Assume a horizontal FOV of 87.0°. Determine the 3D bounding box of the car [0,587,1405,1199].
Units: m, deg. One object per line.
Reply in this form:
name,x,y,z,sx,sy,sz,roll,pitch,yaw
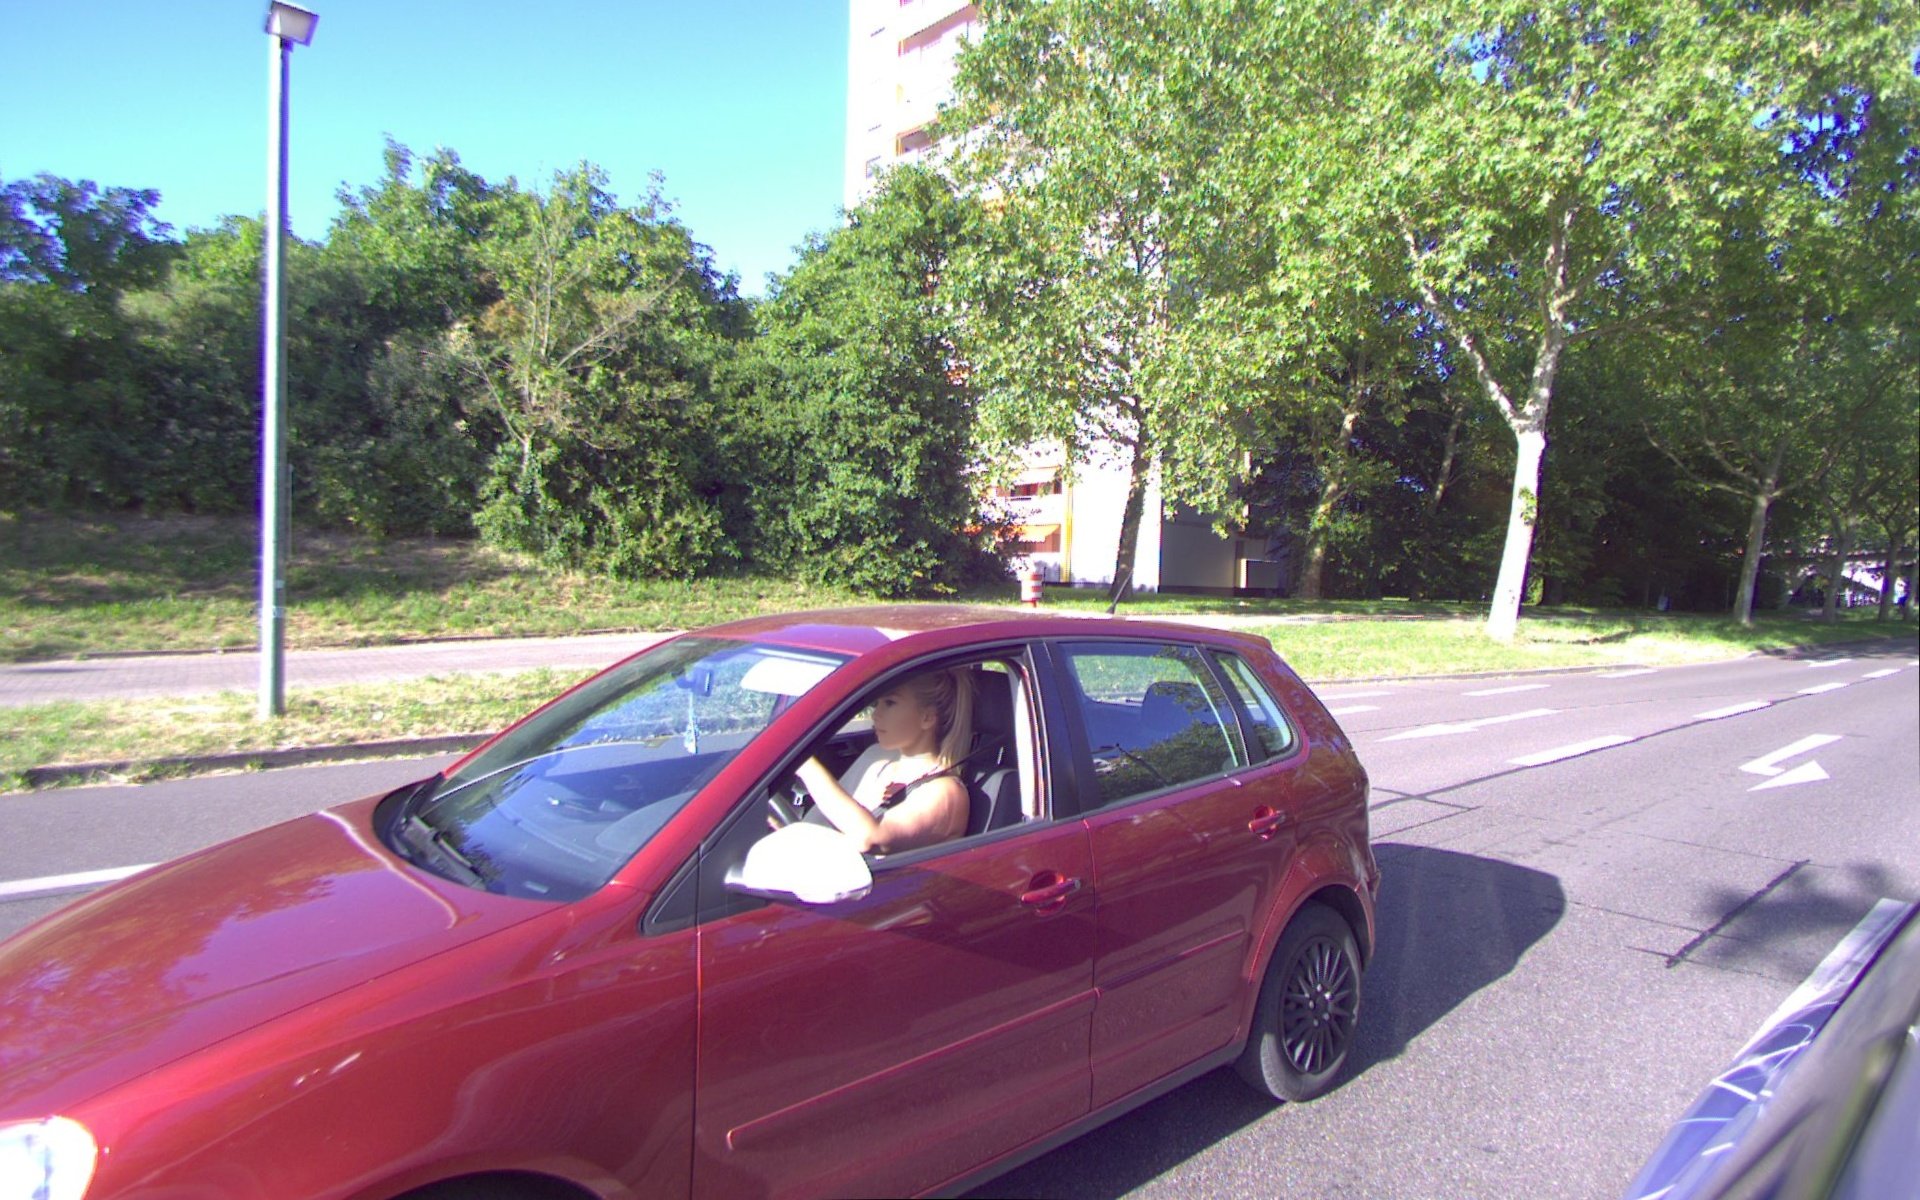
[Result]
car,-0.442,0.712,2.723,3.624,1.479,1.579,-1,0,-40
